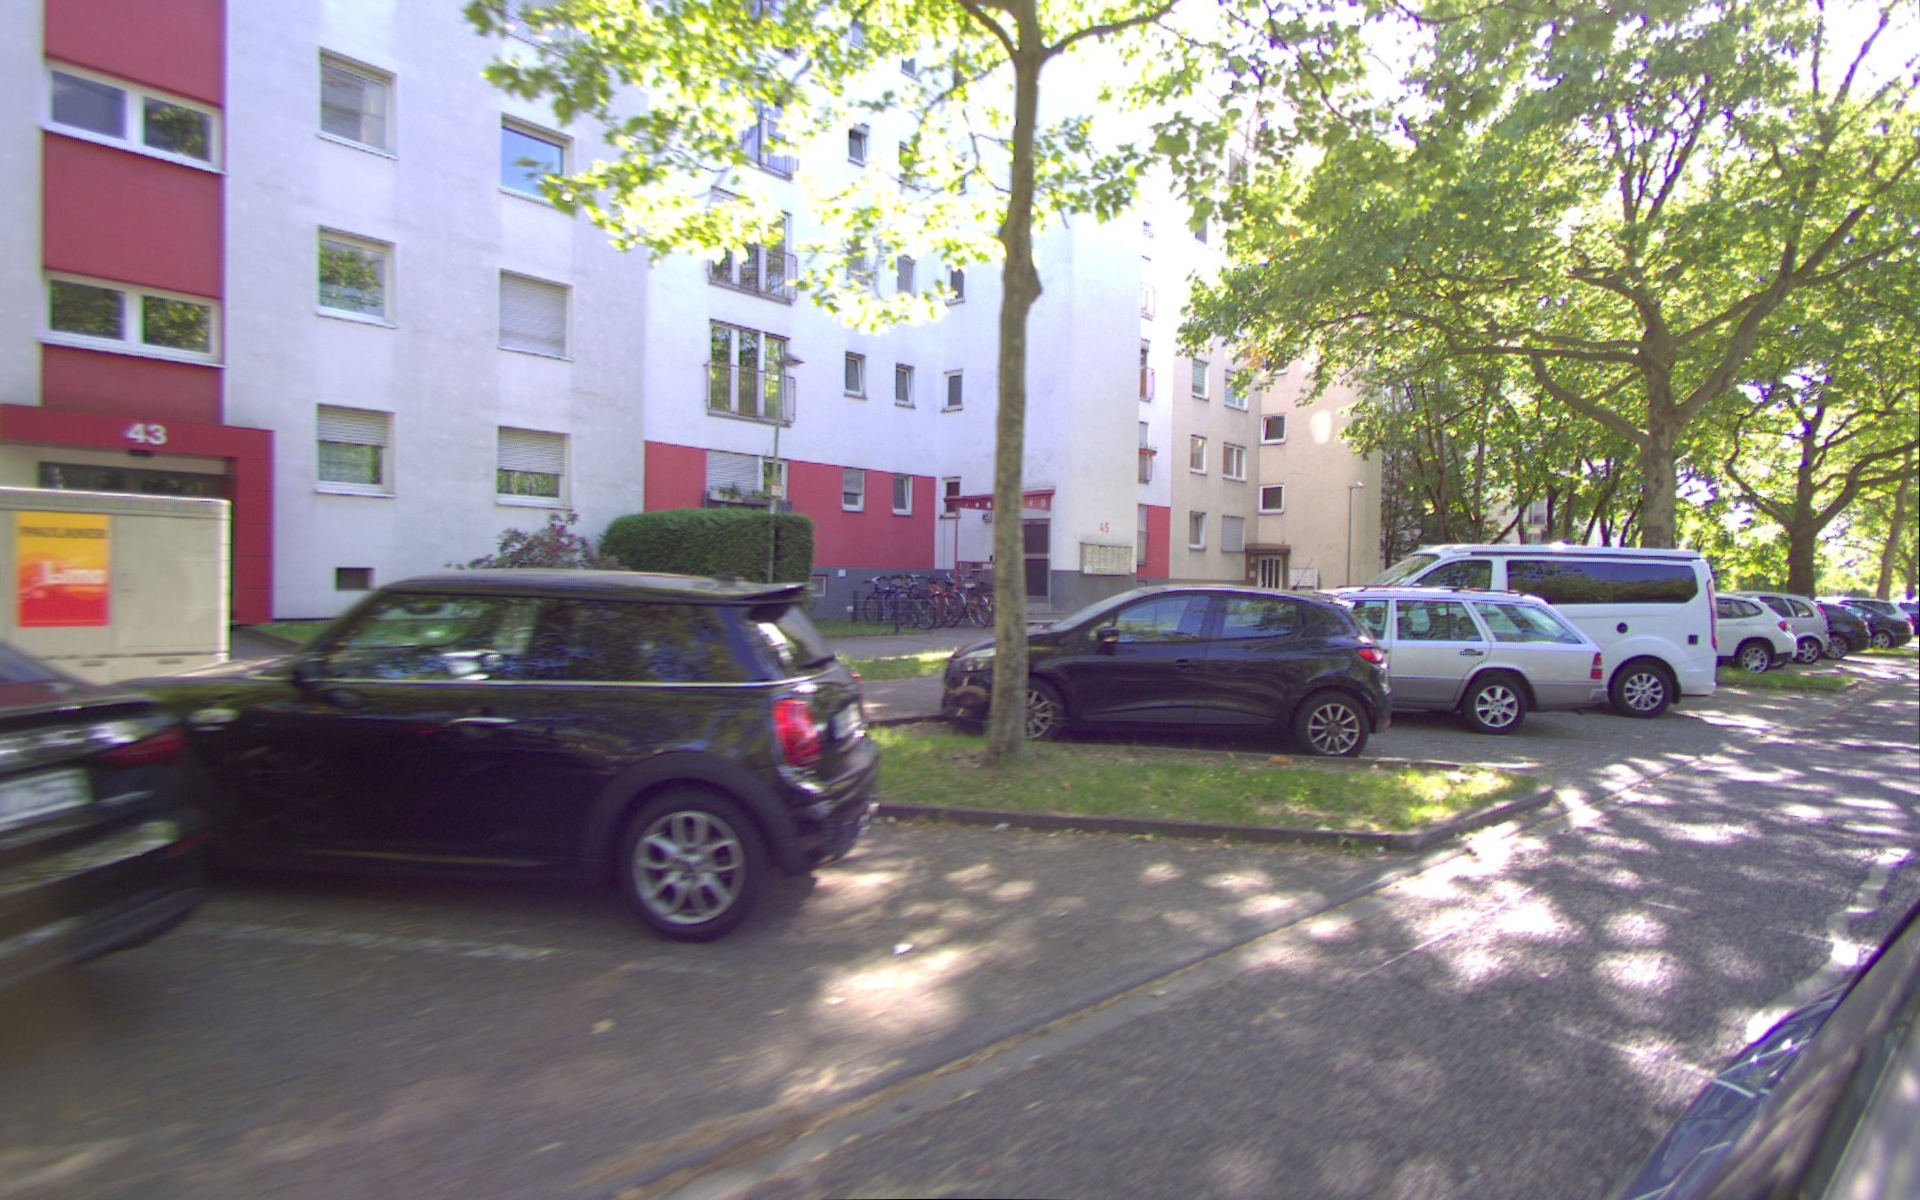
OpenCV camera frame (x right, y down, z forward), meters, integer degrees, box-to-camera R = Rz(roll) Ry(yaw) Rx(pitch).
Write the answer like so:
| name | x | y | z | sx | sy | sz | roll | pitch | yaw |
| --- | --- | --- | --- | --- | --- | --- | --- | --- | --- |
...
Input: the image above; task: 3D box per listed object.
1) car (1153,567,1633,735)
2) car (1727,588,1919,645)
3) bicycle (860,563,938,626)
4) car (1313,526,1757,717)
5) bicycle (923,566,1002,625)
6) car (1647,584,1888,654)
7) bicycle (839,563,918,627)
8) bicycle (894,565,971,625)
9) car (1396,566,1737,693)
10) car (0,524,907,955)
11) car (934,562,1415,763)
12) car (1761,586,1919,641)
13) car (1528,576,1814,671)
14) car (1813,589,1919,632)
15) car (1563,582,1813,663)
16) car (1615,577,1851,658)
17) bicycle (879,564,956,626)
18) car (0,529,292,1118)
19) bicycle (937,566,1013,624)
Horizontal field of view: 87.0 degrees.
| name | x | y | z | sx | sy | sz | roll | pitch | yaw |
| --- | --- | --- | --- | --- | --- | --- | --- | --- | --- |
| car | 4.535 | 0.474 | 11.286 | 4.513 | 1.441 | 1.797 | 3 | 3 | 8 |
| car | 26.105 | 0.465 | 30.432 | 4.507 | 1.440 | 1.799 | 2 | 2 | 4 |
| bicycle | -1.274 | -0.129 | 20.923 | 1.796 | 1.143 | 0.492 | 6 | 4 | 44 |
| car | 7.261 | 0.184 | 13.314 | 4.515 | 2.077 | 2.013 | 3 | 3 | 9 |
| bicycle | 0.030 | -0.114 | 21.946 | 1.796 | 1.143 | 0.541 | 6 | 4 | 44 |
| car | 20.647 | 0.449 | 26.073 | 4.338 | 1.445 | 1.947 | 3 | 3 | 10 |
| bicycle | -1.672 | -0.126 | 20.538 | 1.796 | 1.143 | 0.492 | 6 | 4 | 44 |
| bicycle | -0.607 | -0.132 | 21.783 | 1.796 | 1.143 | 0.492 | 6 | 4 | 44 |
| car | 9.109 | 0.388 | 15.527 | 3.988 | 1.599 | 1.830 | 3 | 3 | 6 |
| car | -2.362 | 0.472 | 4.936 | 3.931 | 1.485 | 1.780 | 3 | 3 | 6 |
| car | 1.803 | 0.463 | 9.280 | 3.855 | 1.434 | 1.798 | 3 | 3 | 6 |
| car | 29.319 | 0.426 | 33.485 | 3.934 | 1.595 | 1.796 | 3 | 2 | 9 |
| car | 13.692 | 0.415 | 19.688 | 4.134 | 1.528 | 1.800 | 3 | 3 | 2 |
| car | 36.829 | 0.421 | 40.279 | 4.100 | 1.529 | 1.800 | 2 | 2 | 2 |
| car | 15.641 | 0.441 | 21.920 | 3.928 | 1.436 | 1.831 | 3 | 3 | 4 |
| car | 18.095 | 0.369 | 23.866 | 3.931 | 1.609 | 1.798 | 3 | 3 | 7 |
| bicycle | -0.912 | -0.127 | 21.304 | 1.796 | 1.143 | 0.492 | 6 | 4 | 44 |
| car | -4.488 | 0.475 | 2.904 | 4.187 | 1.479 | 1.796 | 3 | 3 | 9 |
| bicycle | 0.314 | -0.129 | 22.474 | 1.796 | 1.143 | 0.492 | 6 | 4 | 44 |
